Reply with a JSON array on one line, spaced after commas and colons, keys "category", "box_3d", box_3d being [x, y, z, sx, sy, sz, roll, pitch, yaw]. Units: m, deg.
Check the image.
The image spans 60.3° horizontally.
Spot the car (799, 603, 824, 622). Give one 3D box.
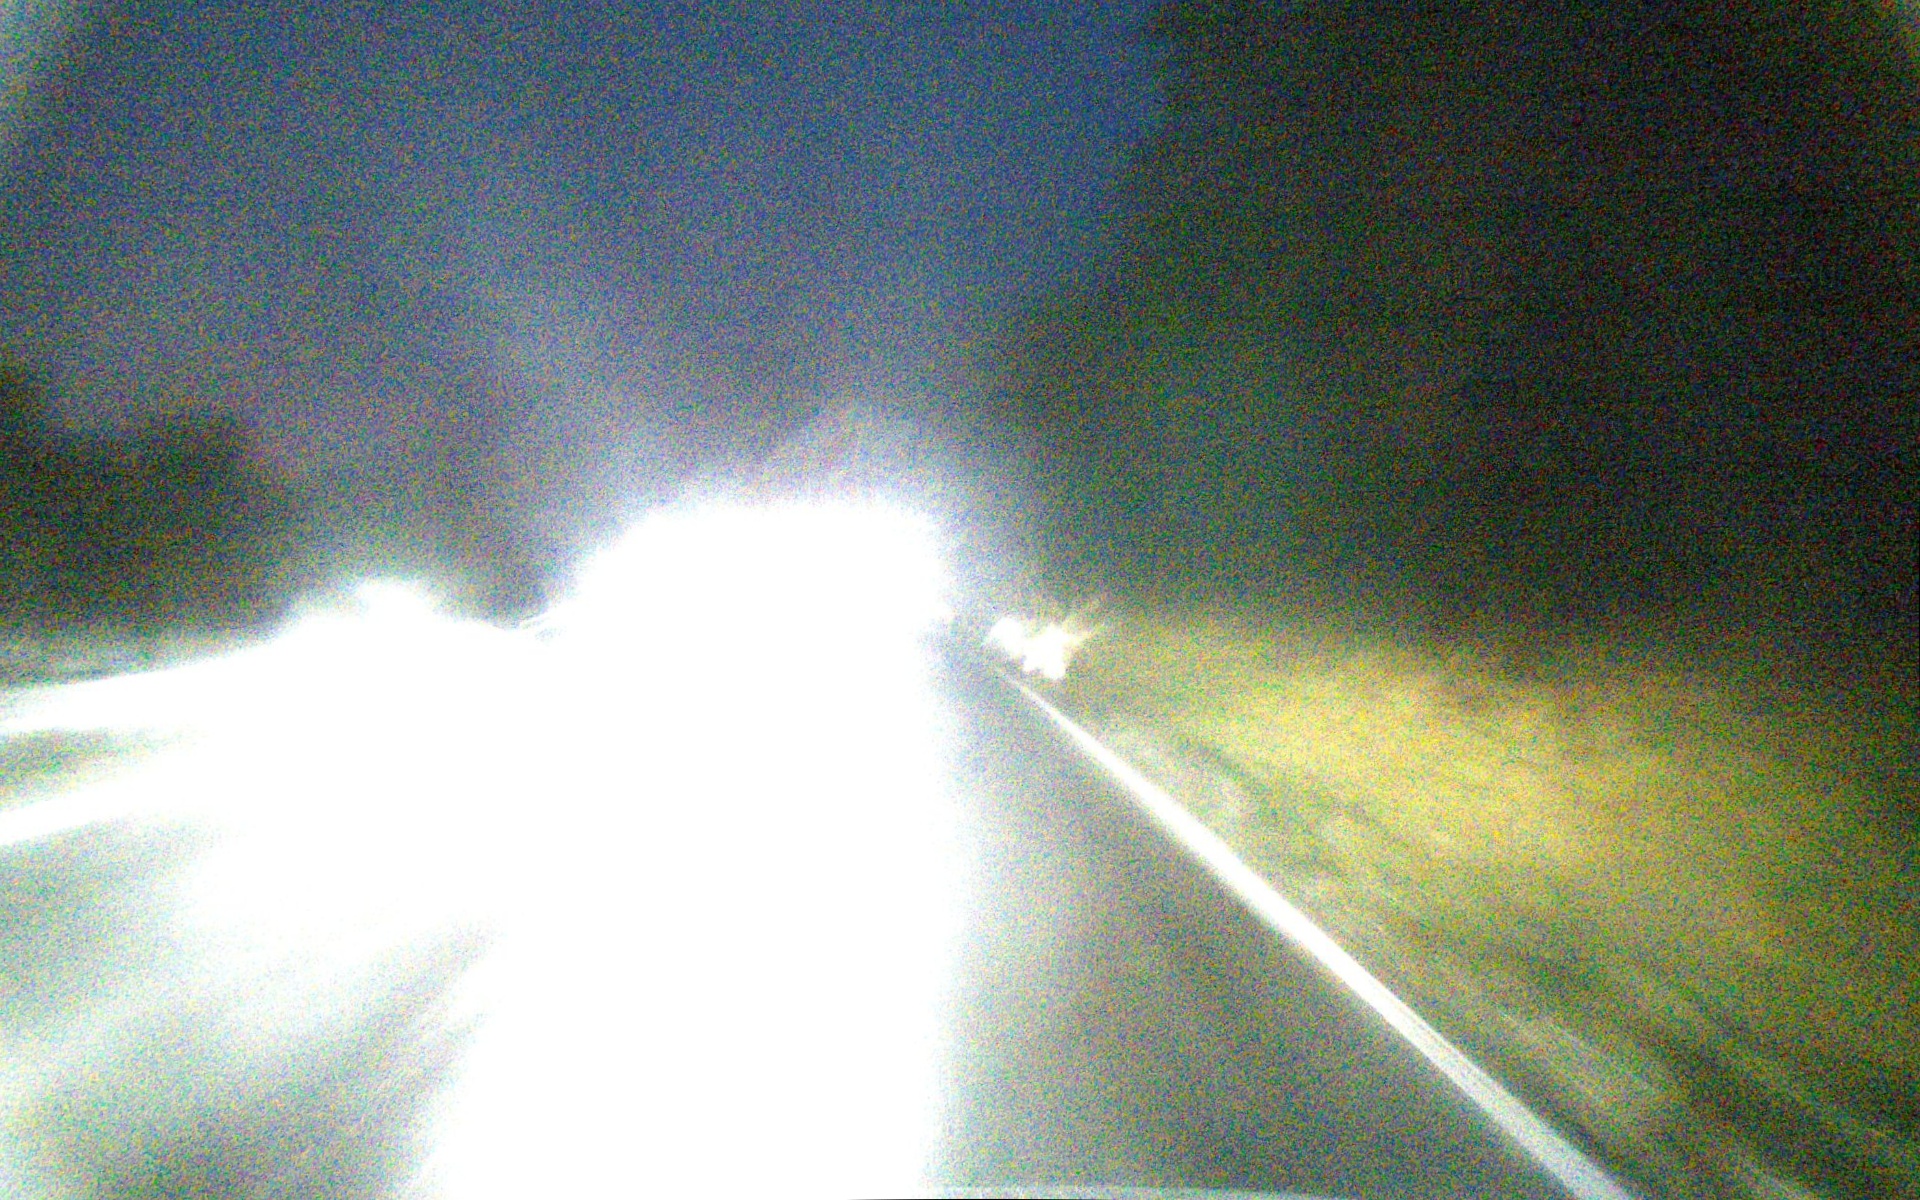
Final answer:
[{"category": "car", "box_3d": [-12.831, 1.034, 143.043, 1.954, 1.526, 3.997, 1, 1, -4]}]

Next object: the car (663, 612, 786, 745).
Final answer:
[{"category": "car", "box_3d": [-4.027, 1.284, 28.728, 1.955, 2.049, 3.995, 1, 1, -6]}]
